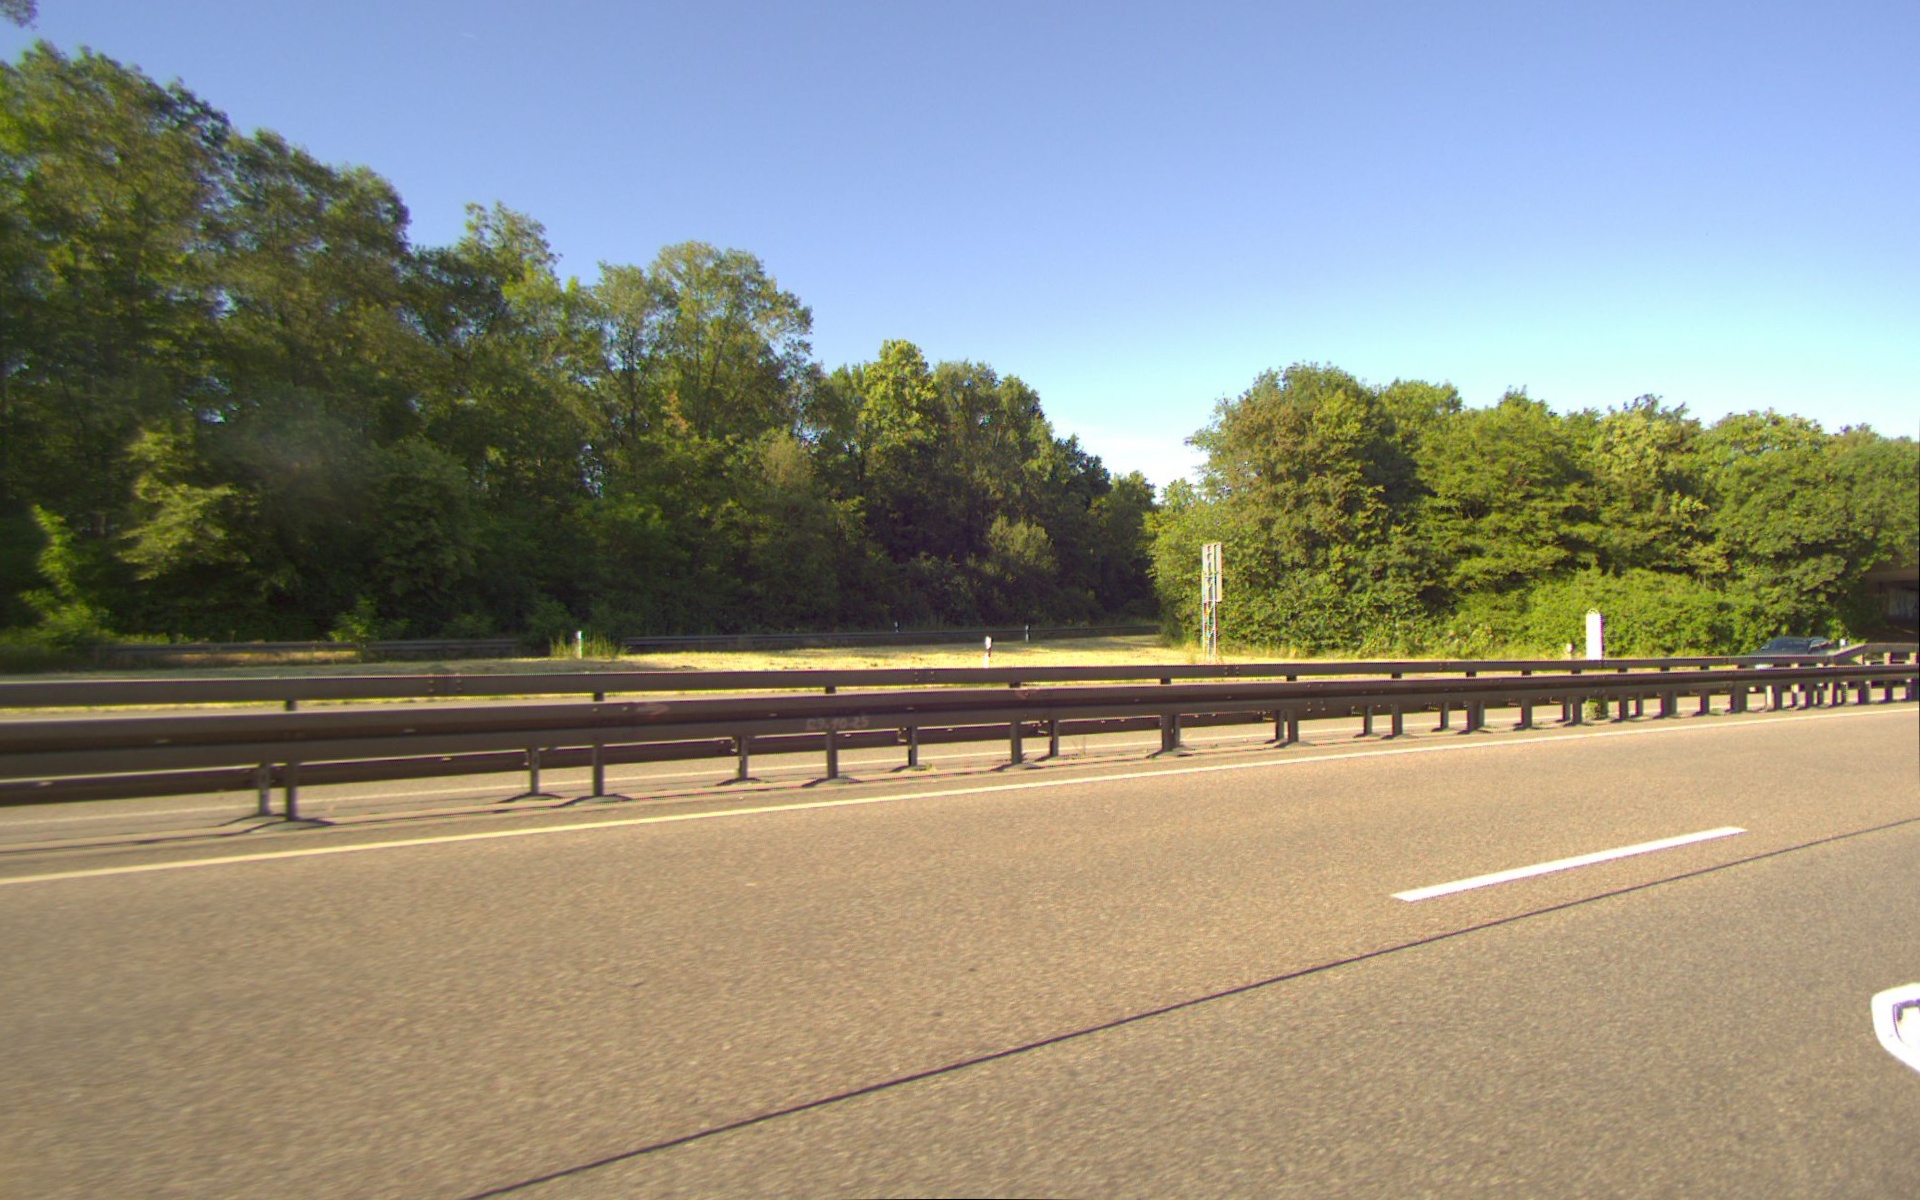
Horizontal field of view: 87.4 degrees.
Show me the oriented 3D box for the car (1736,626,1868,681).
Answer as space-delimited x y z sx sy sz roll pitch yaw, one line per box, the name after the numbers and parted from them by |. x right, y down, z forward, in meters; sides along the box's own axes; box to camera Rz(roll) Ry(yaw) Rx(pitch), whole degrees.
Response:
31.498 1.969 37.565 5.244 1.872 1.986 1 -1 -28 | car
